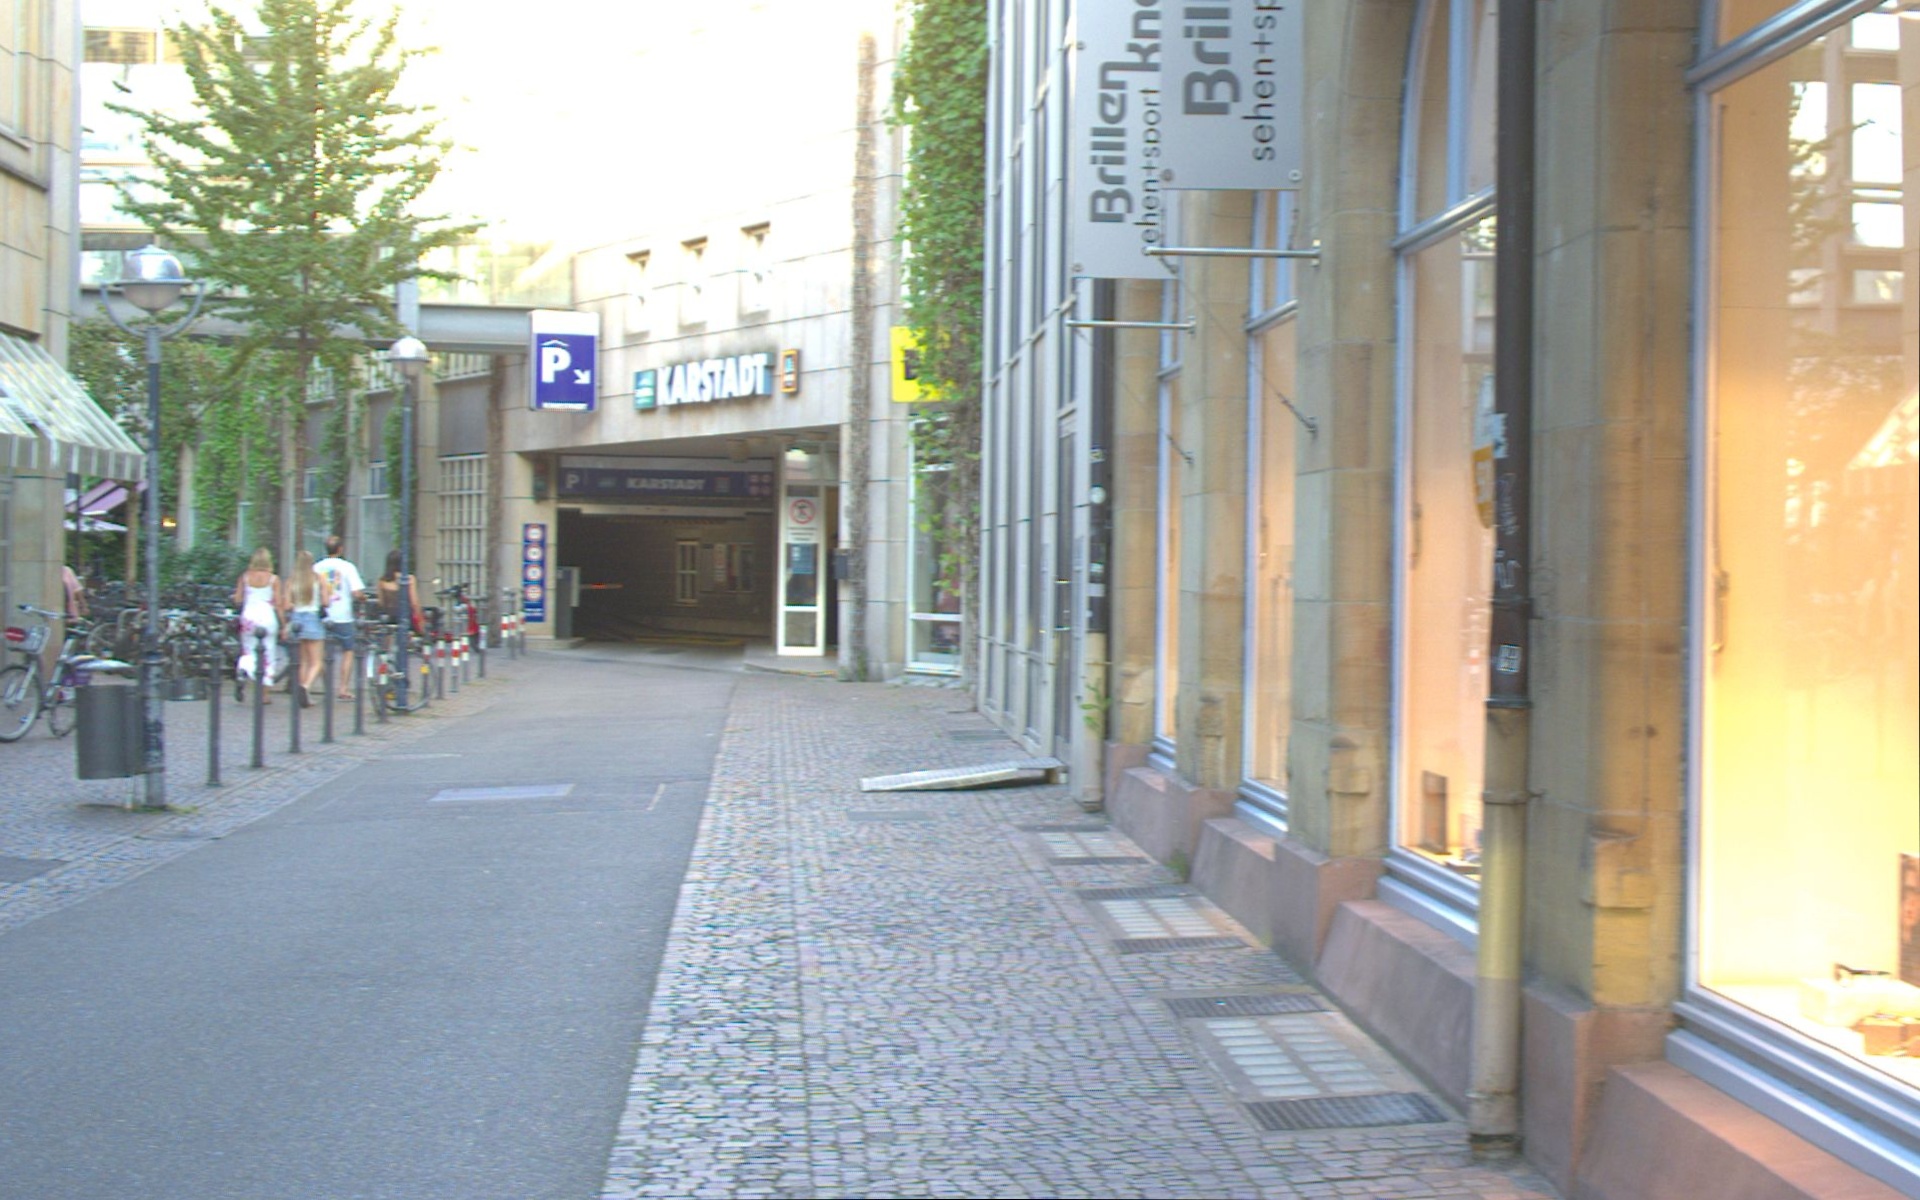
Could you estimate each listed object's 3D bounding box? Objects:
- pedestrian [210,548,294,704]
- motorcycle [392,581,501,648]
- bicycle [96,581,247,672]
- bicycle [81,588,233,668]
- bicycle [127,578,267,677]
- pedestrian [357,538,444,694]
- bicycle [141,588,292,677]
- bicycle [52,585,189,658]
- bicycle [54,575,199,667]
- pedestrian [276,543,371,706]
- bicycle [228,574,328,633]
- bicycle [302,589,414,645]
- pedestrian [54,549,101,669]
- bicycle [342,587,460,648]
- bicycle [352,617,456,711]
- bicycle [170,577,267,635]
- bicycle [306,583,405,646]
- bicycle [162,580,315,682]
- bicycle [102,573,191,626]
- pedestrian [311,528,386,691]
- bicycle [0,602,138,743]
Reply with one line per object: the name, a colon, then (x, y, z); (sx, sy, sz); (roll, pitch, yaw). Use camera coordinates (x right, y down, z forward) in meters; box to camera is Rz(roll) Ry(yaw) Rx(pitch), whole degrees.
pedestrian: (-7.669, 0.271, 37.250); (0.675, 1.659, 0.860); (1, 0, 4)
motorcycle: (-8.156, 0.229, 54.611); (1.662, 1.047, 0.464); (0, 1, -24)
bicycle: (-10.415, 0.339, 45.433); (1.872, 1.173, 0.534); (0, 1, -26)
bicycle: (-10.728, 0.365, 45.947); (1.894, 1.048, 0.534); (0, 1, -26)
bicycle: (-9.684, 0.336, 43.626); (1.653, 1.226, 0.534); (0, 1, -26)
pedestrian: (-6.536, 0.174, 40.213); (0.785, 1.789, 0.972); (0, 1, 5)
bicycle: (-9.626, 0.409, 44.523); (1.836, 1.118, 0.534); (0, 1, -26)
bicycle: (-12.285, 0.306, 50.325); (1.876, 1.039, 0.534); (0, 1, -26)
bicycle: (-11.289, 0.272, 46.590); (1.833, 1.221, 0.534); (0, 1, -26)
pedestrian: (-6.871, 0.256, 37.149); (0.806, 1.723, 0.948); (1, 0, 2)
bicycle: (-12.829, 0.060, 64.646); (1.773, 1.111, 0.543); (0, 1, -24)
bicycle: (-9.981, 0.279, 56.990); (1.773, 0.901, 0.464); (0, 1, -24)
pedestrian: (-10.859, 0.106, 42.312); (0.474, 1.466, 0.415); (0, 1, -25)
bicycle: (-9.130, 0.281, 56.186); (1.847, 0.979, 0.464); (0, 1, -24)
bicycle: (-5.830, 0.663, 36.108); (0.493, 0.935, 1.658); (2, 1, 11)
bicycle: (-14.417, 0.104, 66.817); (1.773, 1.111, 0.543); (0, 1, -24)
bicycle: (-10.187, 0.241, 57.930); (1.539, 1.045, 0.575); (0, 1, -24)
bicycle: (-8.888, 0.377, 42.390); (1.766, 1.226, 0.534); (0, 1, -26)
bicycle: (-17.149, -0.007, 72.447); (1.773, 1.111, 0.543); (0, 1, -21)
pedestrian: (-6.859, 0.102, 38.600); (0.742, 1.816, 0.878); (0, 1, -5)
bicycle: (-7.621, 0.596, 29.181); (0.522, 1.134, 1.763); (0, 1, 13)
